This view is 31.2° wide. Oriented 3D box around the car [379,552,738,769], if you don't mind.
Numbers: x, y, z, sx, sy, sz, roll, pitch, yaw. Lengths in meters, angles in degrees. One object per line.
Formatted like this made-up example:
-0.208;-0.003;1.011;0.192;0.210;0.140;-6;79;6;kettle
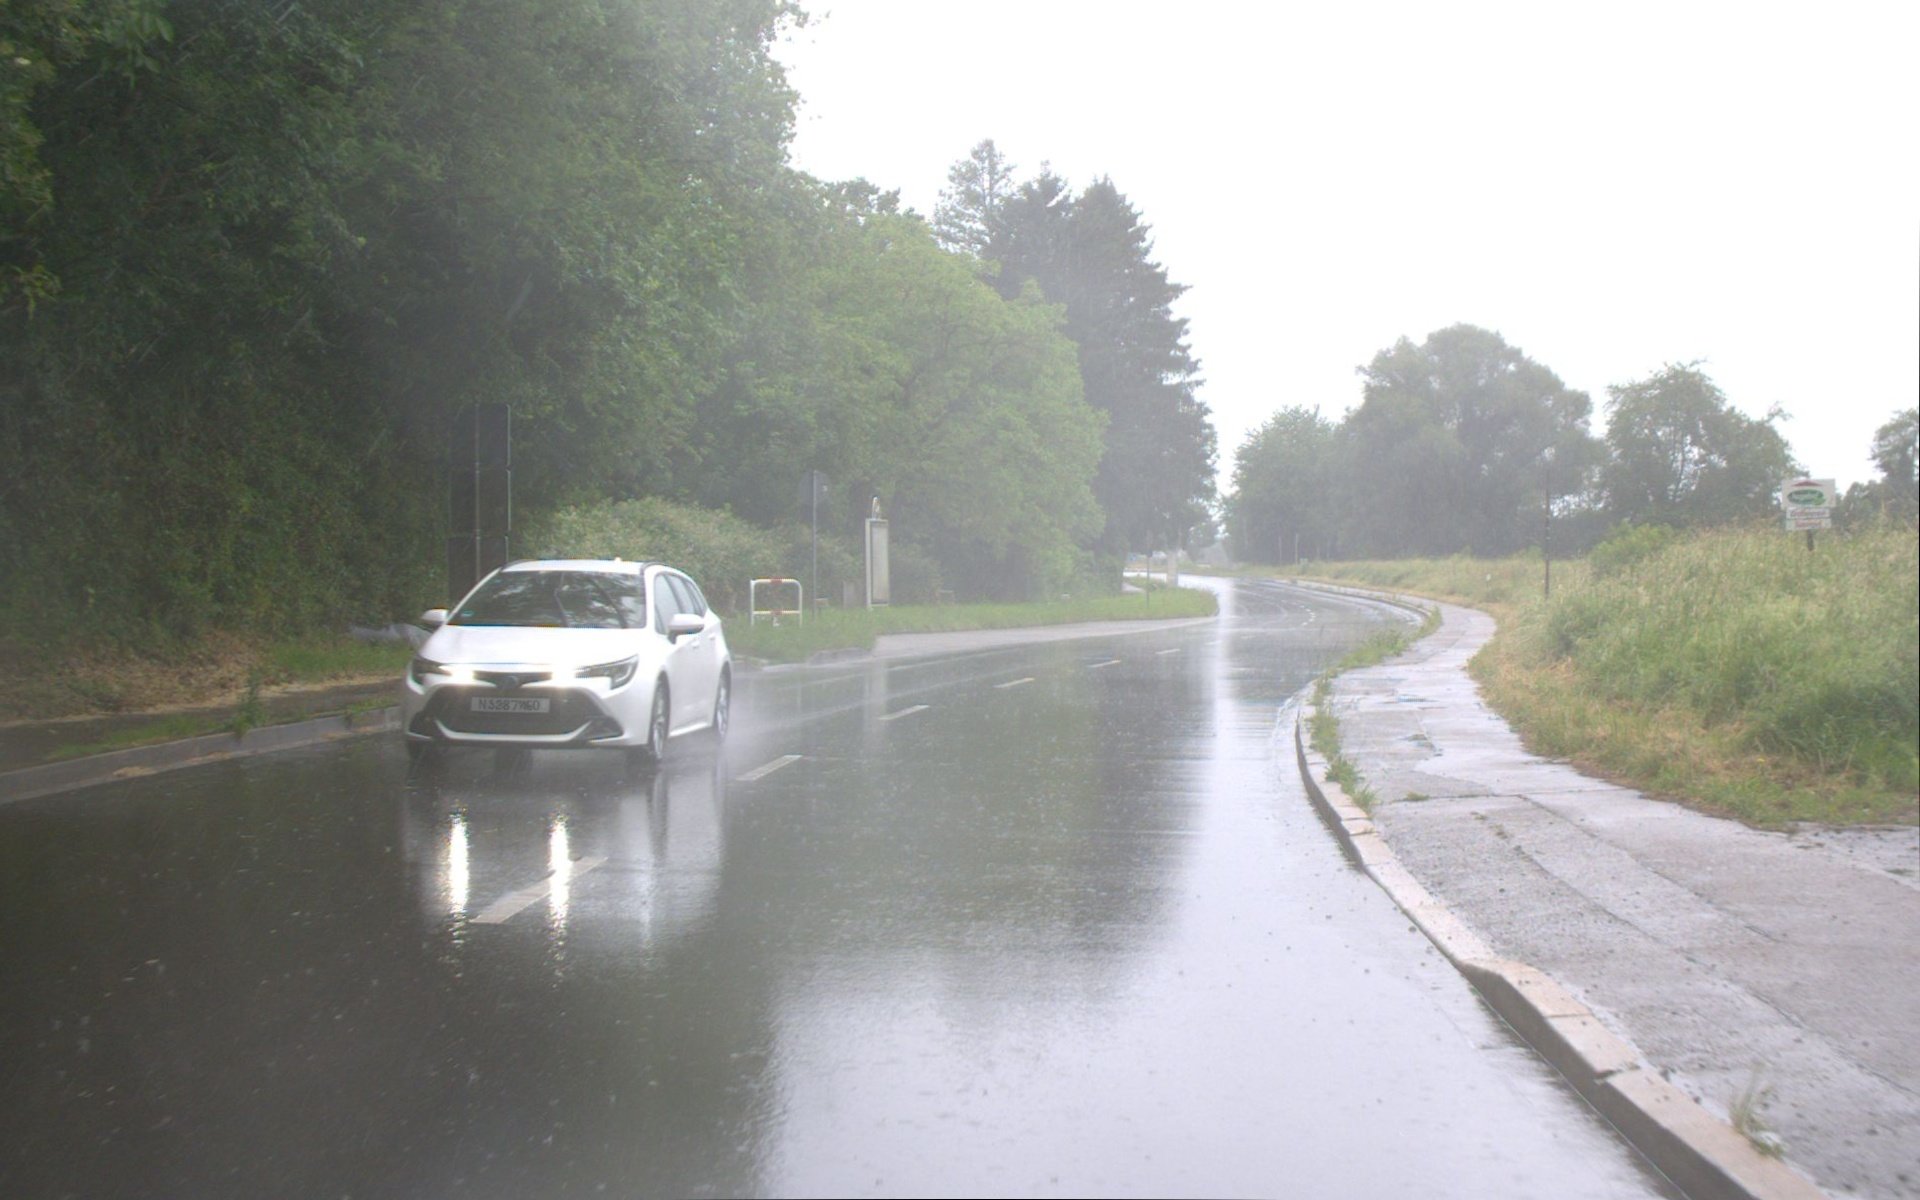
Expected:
-2.832;0.367;25.255;1.786;1.414;4.633;1;1;4;car
